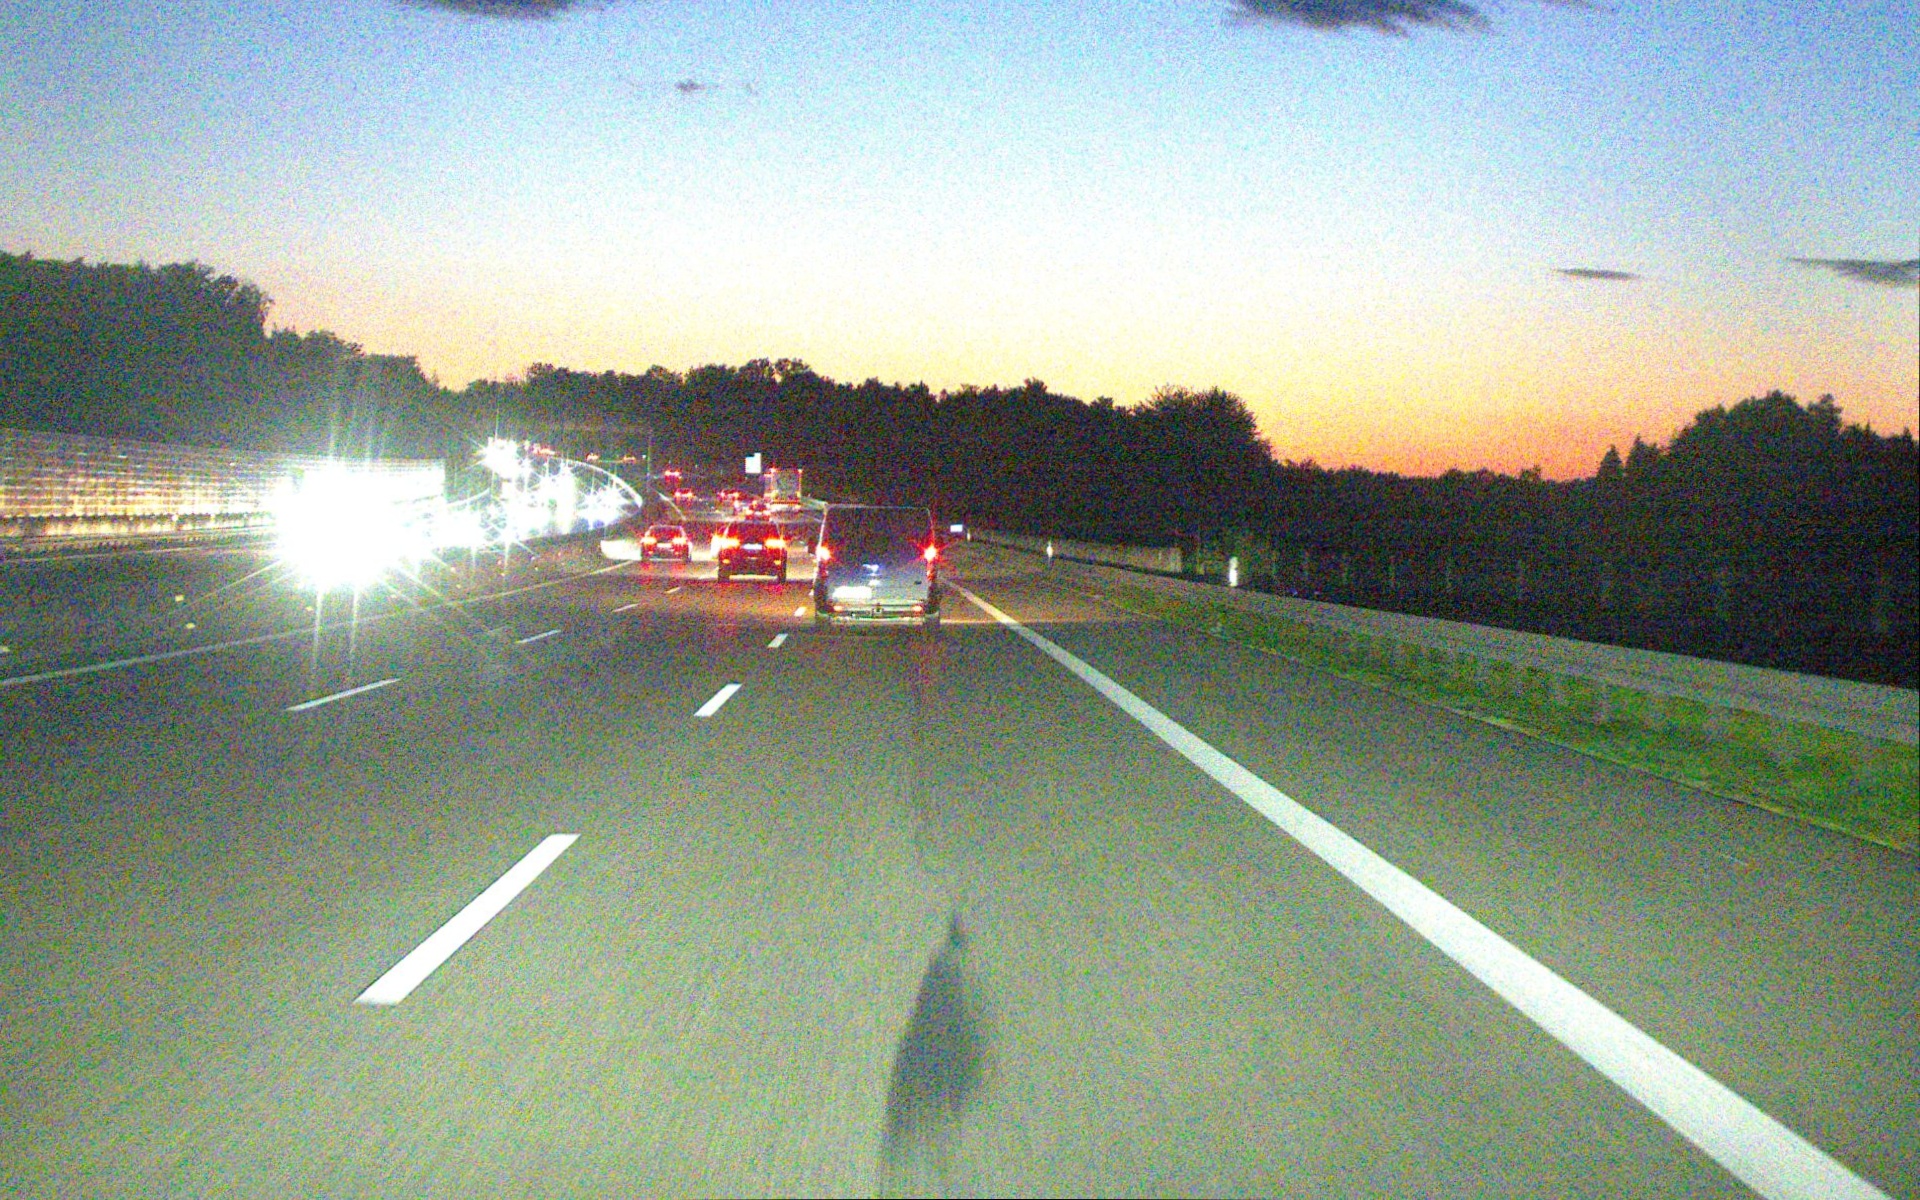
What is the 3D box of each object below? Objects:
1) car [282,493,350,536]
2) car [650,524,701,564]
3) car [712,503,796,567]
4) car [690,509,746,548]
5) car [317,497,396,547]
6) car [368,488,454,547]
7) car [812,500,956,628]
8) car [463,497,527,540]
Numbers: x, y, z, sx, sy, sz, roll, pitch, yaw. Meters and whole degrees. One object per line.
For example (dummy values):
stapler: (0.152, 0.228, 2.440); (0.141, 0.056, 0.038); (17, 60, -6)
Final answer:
car: (-28.425, -3.749, 151.903); (2.104, 1.783, 4.869); (1, 0, -1)
car: (-10.826, -2.125, 131.219); (1.549, 1.426, 5.514); (1, 0, -1)
car: (-5.830, -1.825, 97.817); (1.993, 1.715, 5.942); (0, 0, 1)
car: (-10.003, -2.969, 142.325); (1.780, 1.481, 5.253); (4, 2, 1)
car: (-22.474, -2.940, 128.207); (2.104, 1.783, 4.870); (1, 2, -1)
car: (-17.541, -2.621, 110.035); (2.104, 1.783, 4.319); (1, 0, -1)
car: (-1.223, -0.608, 54.863); (2.196, 1.948, 4.764); (0, 1, -2)
car: (-19.890, -3.499, 147.142); (2.104, 1.783, 4.870); (1, 2, -1)
